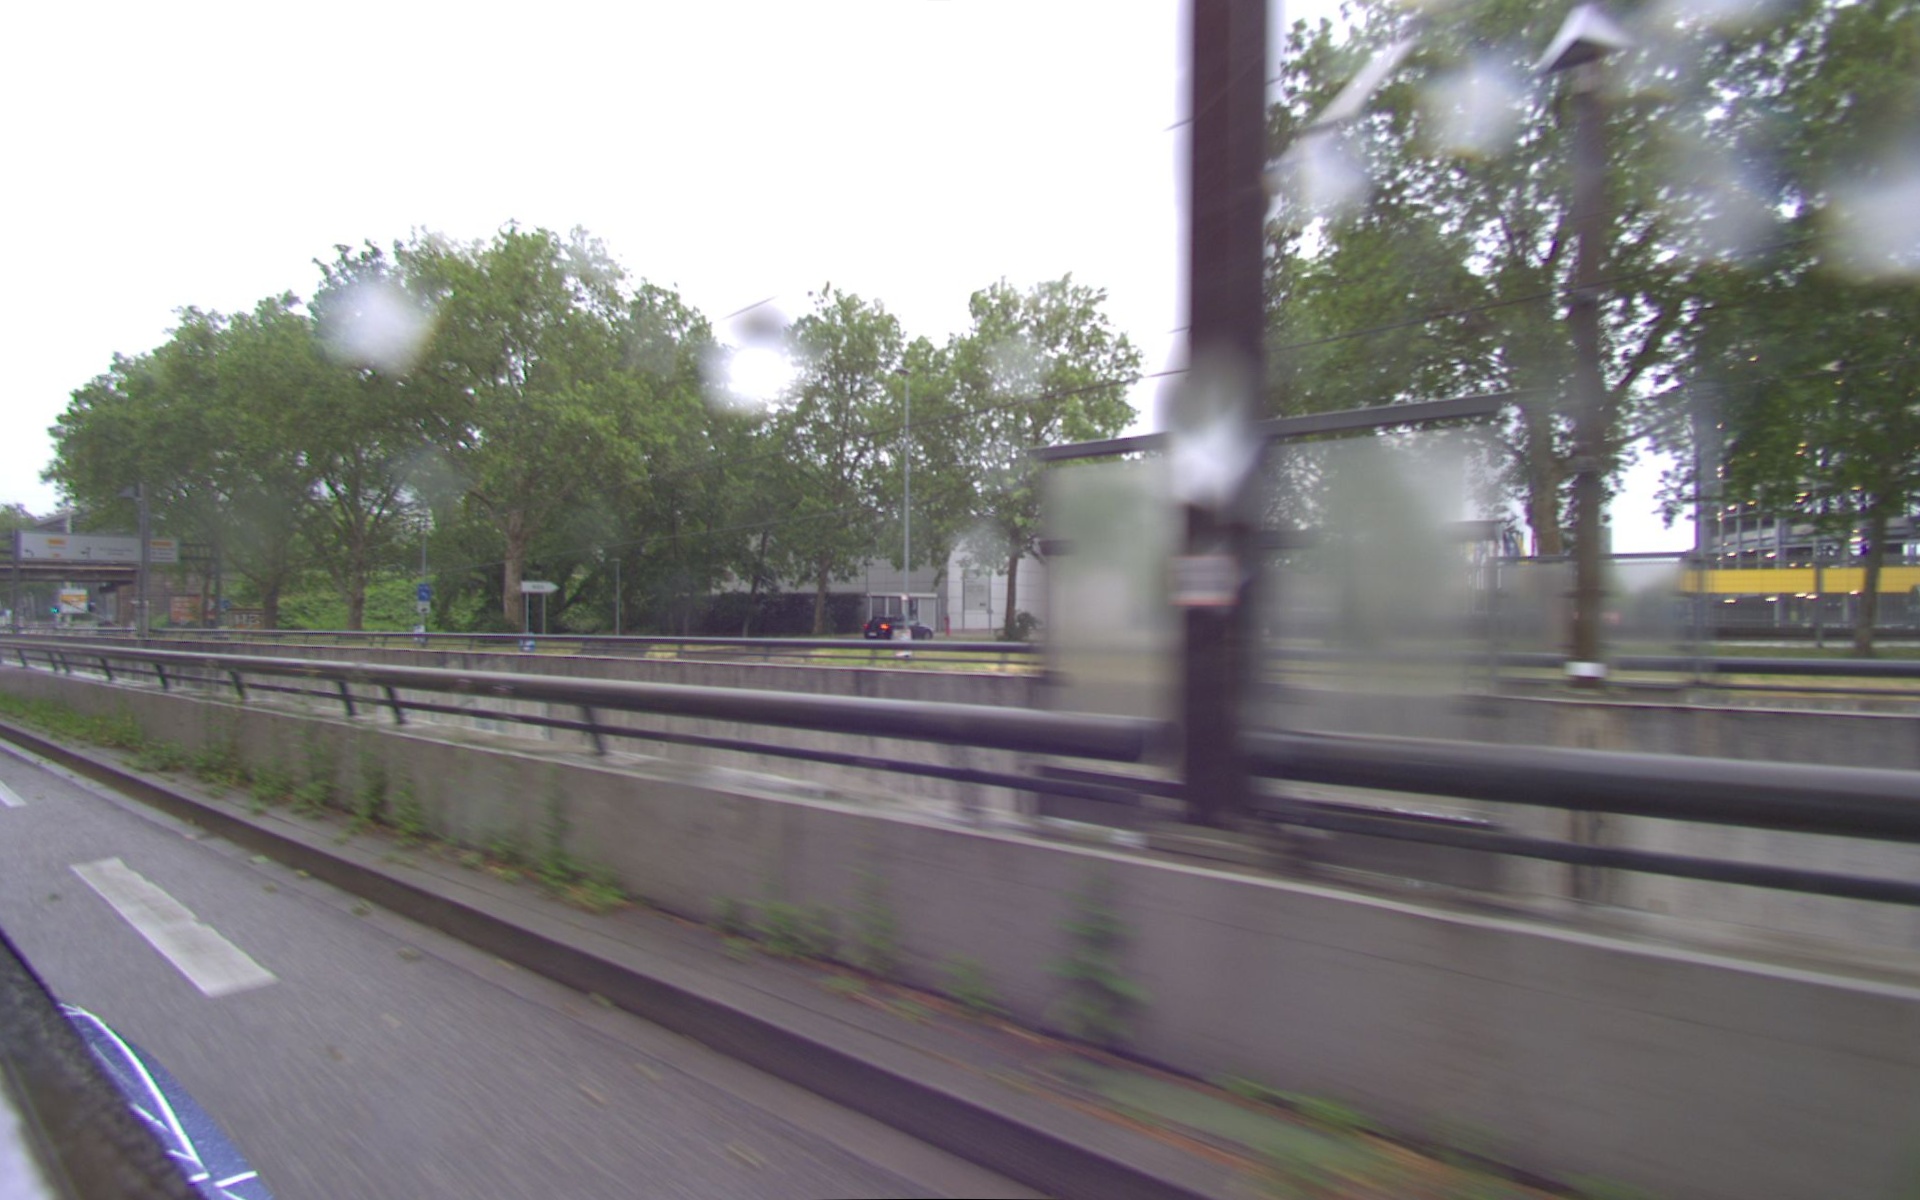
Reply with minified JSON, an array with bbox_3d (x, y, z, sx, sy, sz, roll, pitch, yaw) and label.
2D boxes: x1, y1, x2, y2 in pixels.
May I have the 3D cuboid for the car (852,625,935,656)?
[{"bbox_3d":[-3.371,2.025,51.347,3.733,1.414,2.004,0,-1,-39],"label":"car"}]

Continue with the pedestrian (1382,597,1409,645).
[{"bbox_3d":[18.999,0.898,44.154,0.789,2.029,0.991,-1,0,41],"label":"pedestrian"}]
